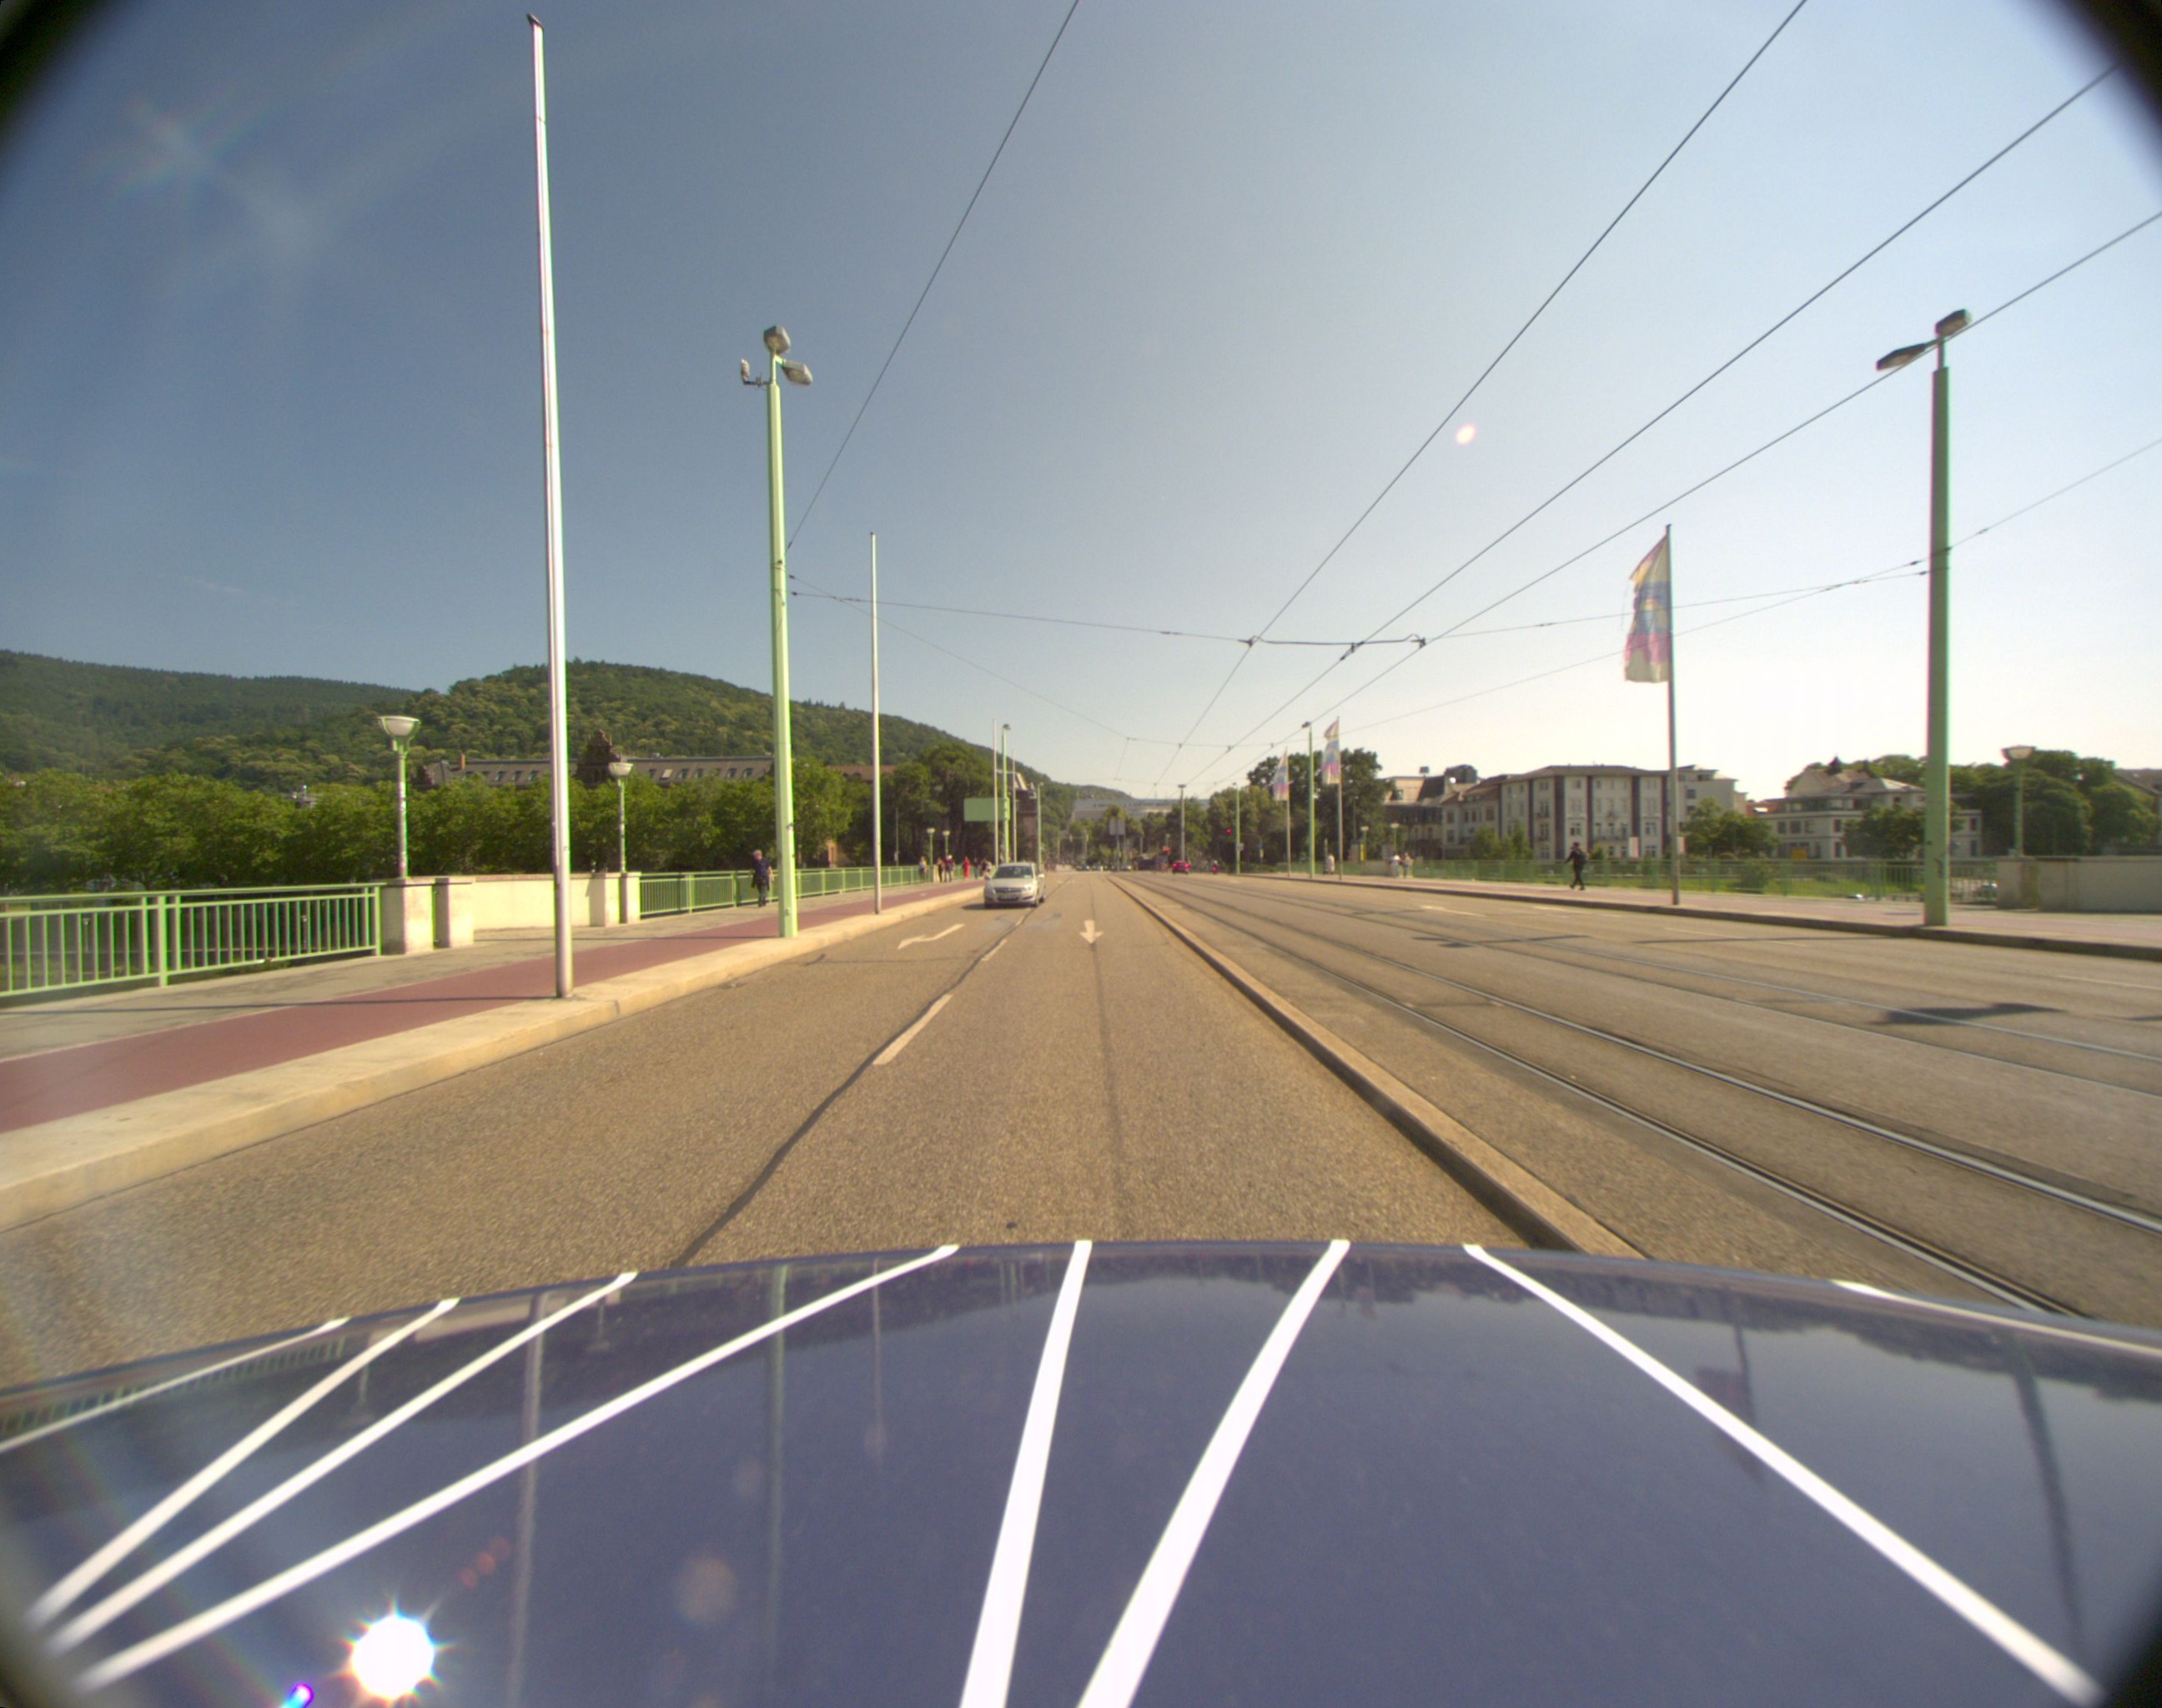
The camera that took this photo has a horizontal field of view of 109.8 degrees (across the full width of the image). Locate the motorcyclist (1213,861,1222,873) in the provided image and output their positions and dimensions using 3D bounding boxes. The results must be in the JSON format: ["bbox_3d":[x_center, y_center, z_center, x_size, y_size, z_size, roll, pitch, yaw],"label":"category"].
[{"bbox_3d":[15.652,1.500,87.039,0.847,1.393,0.898,-2,0,-2],"label":"motorcyclist"}]

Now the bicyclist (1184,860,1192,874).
[{"bbox_3d":[13.194,1.596,93.438,0.770,1.599,0.881,-1,1,17],"label":"bicyclist"}]

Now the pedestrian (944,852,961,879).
[{"bbox_3d":[-8.998,0.786,53.222,0.987,1.884,1.254,-1,1,-2],"label":"pedestrian"}]

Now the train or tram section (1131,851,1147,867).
[{"bbox_3d":[12.653,1.047,166.114,2.768,3.383,5.885,0,0,-4],"label":"train or tram section"}]

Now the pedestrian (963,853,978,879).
[{"bbox_3d":[-8.328,0.901,57.186,1.018,1.942,0.939,-1,1,-2],"label":"pedestrian"}]

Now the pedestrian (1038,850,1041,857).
[{"bbox_3d":[-10.647,-0.090,195.005,0.707,1.684,0.628,-4,-1,-2],"label":"pedestrian"}]

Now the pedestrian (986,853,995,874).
[{"bbox_3d":[-7.234,0.765,60.457,0.656,1.640,0.868,-1,1,-5],"label":"pedestrian"}]

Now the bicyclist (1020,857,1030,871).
[{"bbox_3d":[-5.691,0.977,77.279,0.912,1.385,1.232,-1,0,0],"label":"bicyclist"}]

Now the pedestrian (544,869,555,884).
[{"bbox_3d":[-64.709,2.750,92.523,0.742,1.764,0.676,-2,0,-5],"label":"pedestrian"}]

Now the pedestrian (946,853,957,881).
[{"bbox_3d":[-8.310,0.804,48.717,0.587,1.783,0.632,-1,1,-4],"label":"pedestrian"}]

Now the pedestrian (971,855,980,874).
[{"bbox_3d":[-9.385,0.912,67.559,0.651,1.622,0.692,-2,0,1],"label":"pedestrian"}]

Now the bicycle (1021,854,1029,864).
[{"bbox_3d":[-5.700,0.508,77.190,0.643,1.076,2.496,0,-1,0],"label":"bicycle"}]

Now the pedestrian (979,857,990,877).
[{"bbox_3d":[-7.995,1.052,63.017,0.836,1.667,0.885,-1,1,-5],"label":"pedestrian"}]

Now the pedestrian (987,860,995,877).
[{"bbox_3d":[-8.353,1.328,70.526,0.651,1.553,0.692,0,-1,1],"label":"pedestrian"}]

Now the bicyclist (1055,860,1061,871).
[{"bbox_3d":[-4.096,2.074,134.025,0.944,2.002,0.830,0,0,-5],"label":"bicyclist"}]

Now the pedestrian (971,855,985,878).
[{"bbox_3d":[-8.217,1.003,60.710,0.988,1.759,1.254,0,0,-5],"label":"pedestrian"}]

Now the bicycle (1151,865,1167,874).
[{"bbox_3d":[9.810,1.997,95.731,1.915,1.107,0.762,-1,1,23],"label":"bicycle"}]

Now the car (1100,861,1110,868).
[{"bbox_3d":[5.035,2.153,157.789,1.638,1.300,3.913,0,-1,-5],"label":"car"}]

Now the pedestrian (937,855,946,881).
[{"bbox_3d":[-8.938,0.889,48.717,0.524,1.640,0.699,-1,1,-5],"label":"pedestrian"}]

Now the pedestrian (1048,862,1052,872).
[{"bbox_3d":[-5.985,2.474,148.030,0.636,1.880,0.903,-1,0,-6],"label":"pedestrian"}]

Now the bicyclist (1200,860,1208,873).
[{"bbox_3d":[15.264,1.520,94.112,0.879,1.599,0.772,1,-1,3],"label":"bicyclist"}]

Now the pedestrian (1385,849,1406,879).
[{"bbox_3d":[19.040,0.602,45.962,0.740,1.774,0.957,-4,0,-2],"label":"pedestrian"}]

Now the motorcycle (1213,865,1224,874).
[{"bbox_3d":[15.670,1.749,86.739,0.847,1.019,1.951,-2,0,-1],"label":"motorcycle"}]

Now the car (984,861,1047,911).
[{"bbox_3d":[-2.142,1.023,26.012,1.802,1.492,4.497,-2,0,-1],"label":"car"}]

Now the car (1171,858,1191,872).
[{"bbox_3d":[11.310,1.197,86.145,1.998,1.506,4.191,-1,0,4],"label":"car"}]

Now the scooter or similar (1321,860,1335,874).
[{"bbox_3d":[19.594,1.022,60.186,0.740,1.023,0.832,-4,0,-2],"label":"scooter or similar"}]

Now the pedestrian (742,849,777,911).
[{"bbox_3d":[-9.323,0.754,22.064,0.656,1.733,0.978,-1,-1,-5],"label":"pedestrian"}]

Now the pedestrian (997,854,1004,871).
[{"bbox_3d":[-9.228,0.975,87.181,0.805,2.002,0.954,-1,1,-5],"label":"pedestrian"}]

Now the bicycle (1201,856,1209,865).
[{"bbox_3d":[15.325,0.807,93.903,0.760,1.107,1.920,-1,0,2],"label":"bicycle"}]

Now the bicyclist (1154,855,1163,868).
[{"bbox_3d":[9.772,0.987,95.653,0.878,1.599,0.773,-1,1,22],"label":"bicyclist"}]

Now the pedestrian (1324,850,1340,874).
[{"bbox_3d":[19.594,0.620,59.273,0.740,1.842,0.975,-4,0,-2],"label":"pedestrian"}]

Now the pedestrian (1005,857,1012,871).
[{"bbox_3d":[-8.604,1.186,90.525,0.801,1.625,0.949,0,0,-4],"label":"pedestrian"}]

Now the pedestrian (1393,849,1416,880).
[{"bbox_3d":[19.620,0.610,46.106,0.740,1.838,1.121,-4,1,-2],"label":"pedestrian"}]

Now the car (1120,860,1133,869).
[{"bbox_3d":[7.587,1.806,127.093,1.752,1.477,4.747,1,-1,0],"label":"car"}]

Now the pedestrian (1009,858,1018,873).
[{"bbox_3d":[-7.670,1.300,86.553,0.988,1.606,0.921,-1,1,-5],"label":"pedestrian"}]

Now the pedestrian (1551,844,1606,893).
[{"bbox_3d":[18.158,0.523,27.774,1.100,1.748,1.295,-1,0,-2],"label":"pedestrian"}]

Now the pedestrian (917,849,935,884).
[{"bbox_3d":[-8.928,0.697,43.902,0.876,2.002,1.058,-1,1,-5],"label":"pedestrian"}]

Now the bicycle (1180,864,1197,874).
[{"bbox_3d":[13.207,1.845,93.436,1.916,1.107,0.762,-1,1,17],"label":"bicycle"}]
